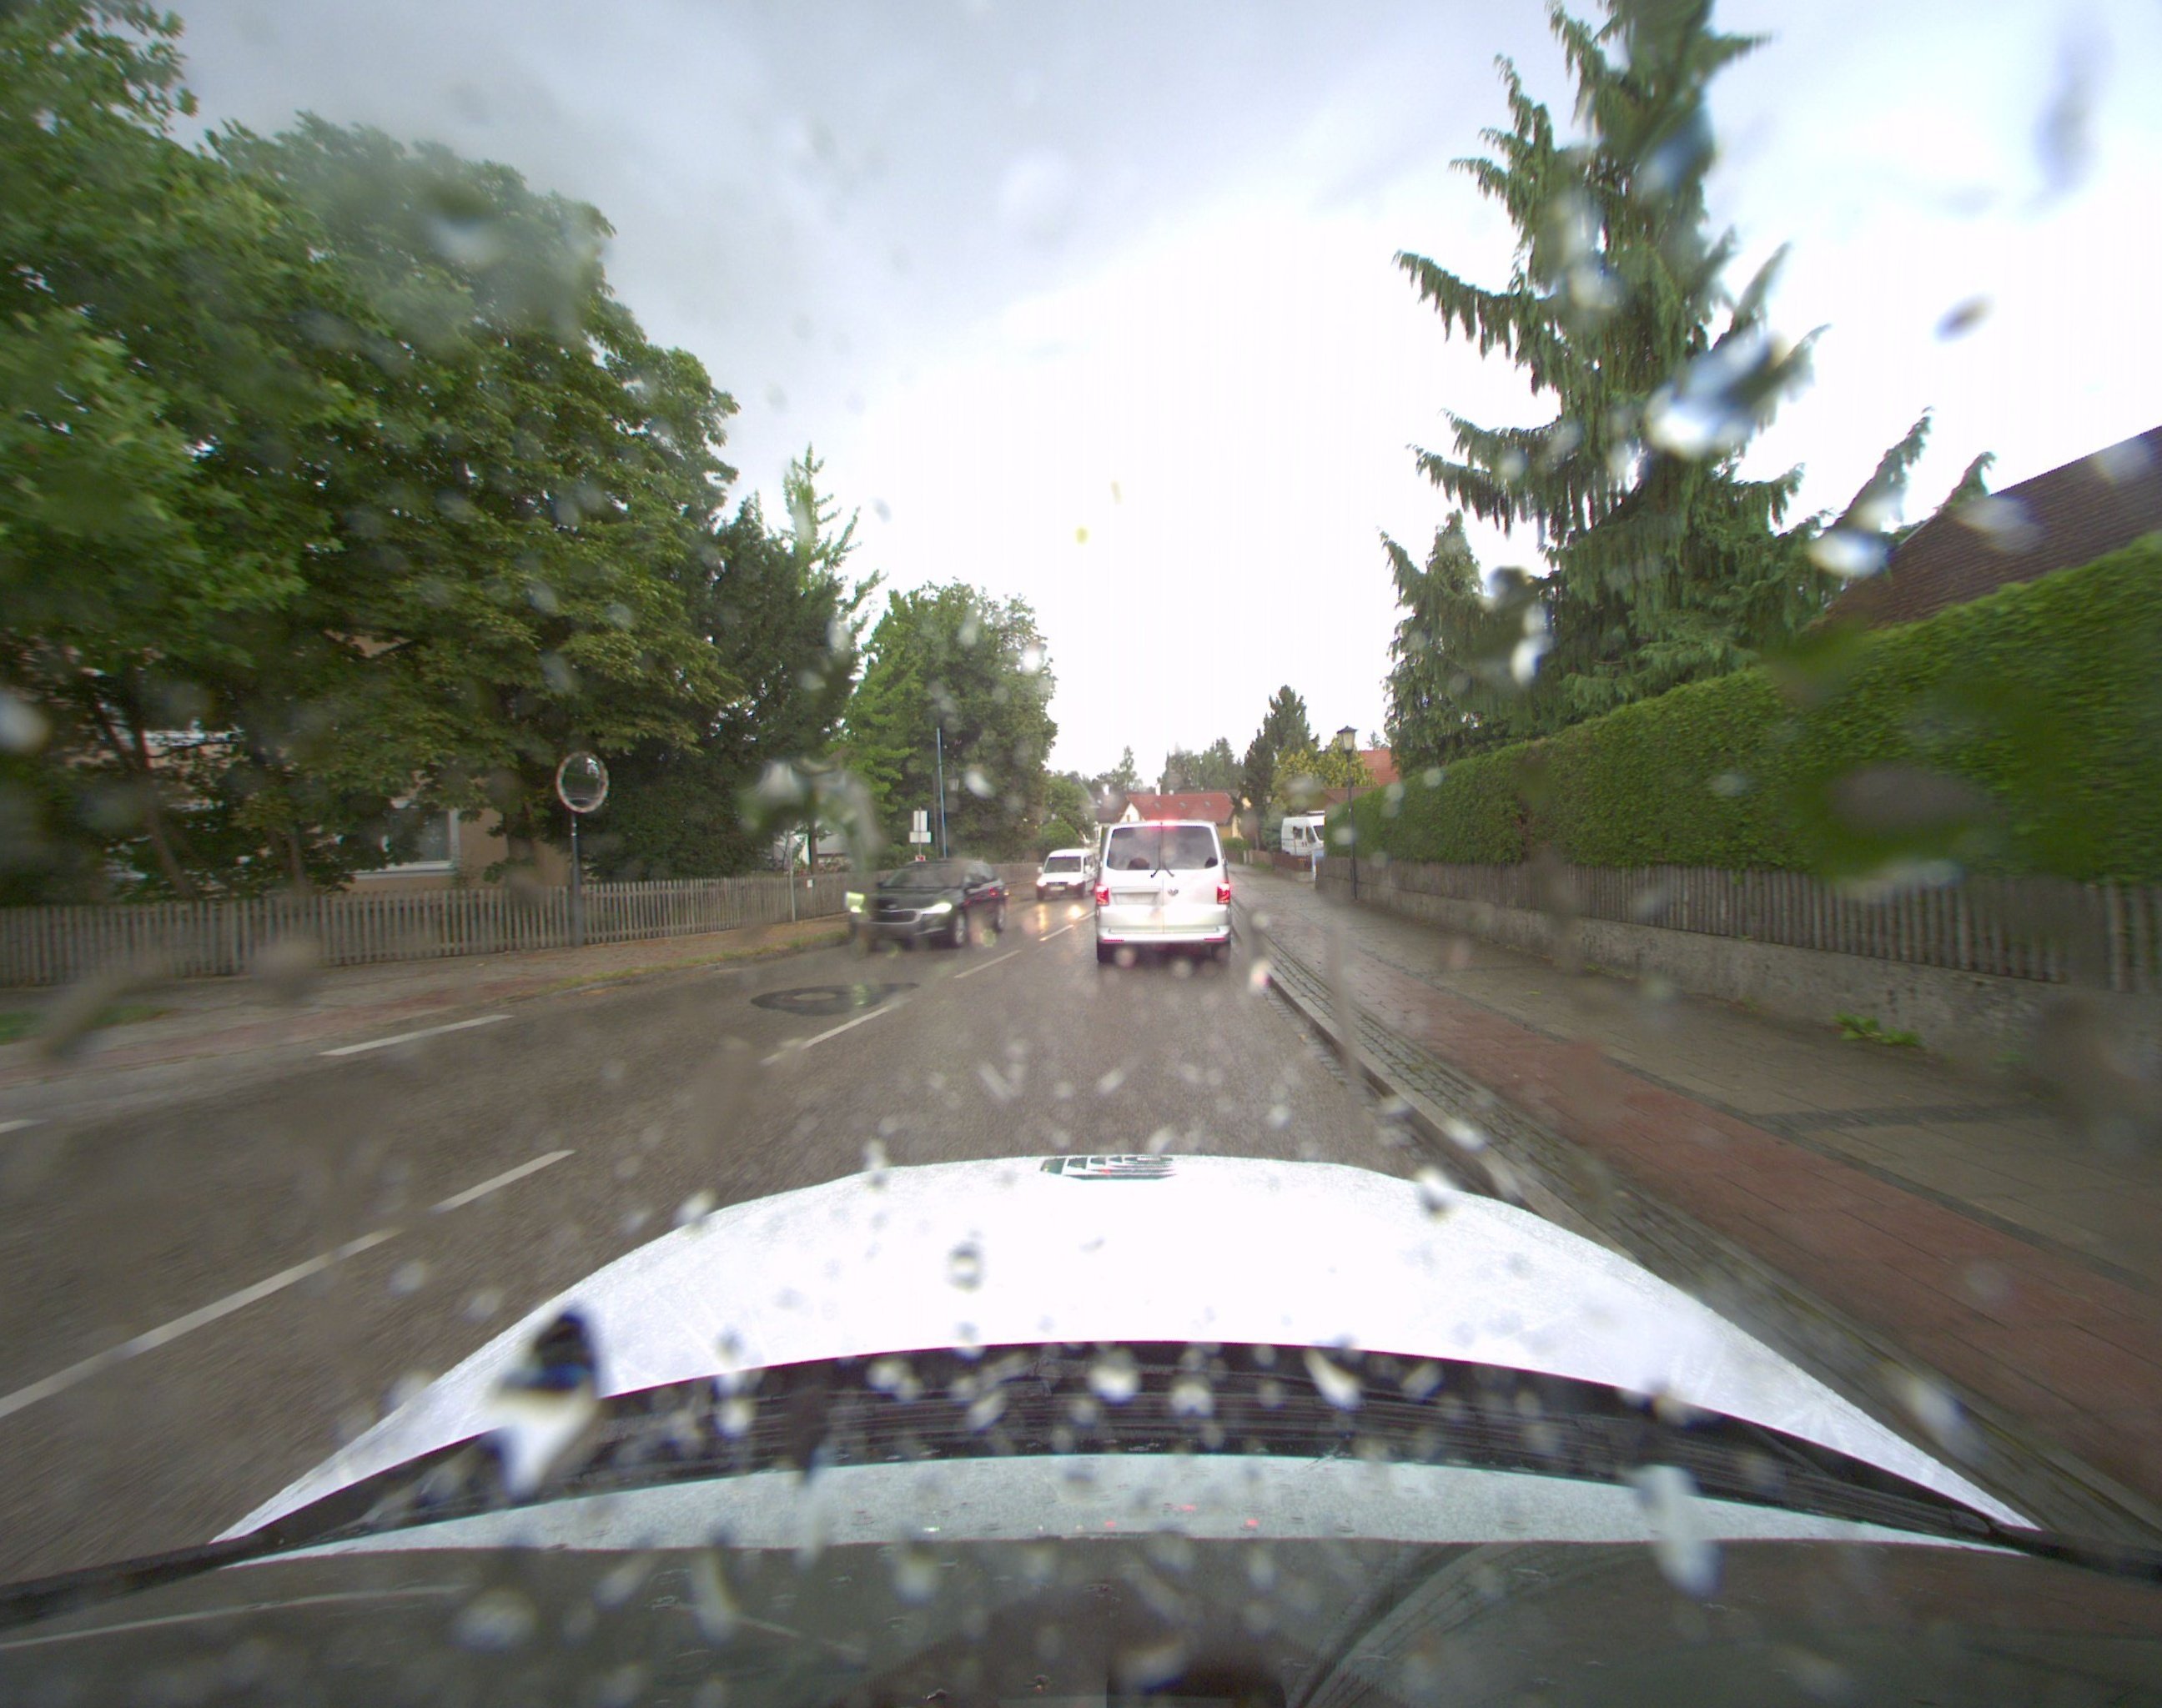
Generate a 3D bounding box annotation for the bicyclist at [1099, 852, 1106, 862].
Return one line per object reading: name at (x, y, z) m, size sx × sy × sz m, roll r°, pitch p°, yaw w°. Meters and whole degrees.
bicyclist at (2.326, 0.323, 88.888) m, size 0.584 × 1.021 × 1.062 m, roll -1°, pitch 0°, yaw 7°

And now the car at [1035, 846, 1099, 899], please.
car at (-0.420, 0.645, 29.303) m, size 1.631 × 1.765 × 4.340 m, roll -1°, pitch -1°, yaw 8°

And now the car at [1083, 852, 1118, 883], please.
car at (1.203, 0.780, 47.608) m, size 1.631 × 1.765 × 4.339 m, roll -1°, pitch -1°, yaw 7°

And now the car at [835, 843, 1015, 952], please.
car at (-2.611, 0.677, 14.831) m, size 1.773 × 1.663 × 4.458 m, roll -1°, pitch 0°, yaw 9°

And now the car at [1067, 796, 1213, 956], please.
car at (1.061, 0.308, 12.397) m, size 1.790 × 2.014 × 4.011 m, roll -1°, pitch -1°, yaw 10°

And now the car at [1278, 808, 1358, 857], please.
car at (11.309, -0.979, 39.199) m, size 1.991 × 2.173 × 4.942 m, roll 0°, pitch -1°, yaw -6°

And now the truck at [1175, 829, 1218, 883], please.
truck at (7.023, 0.152, 49.905) m, size 2.462 × 3.074 × 6.308 m, roll -1°, pitch -1°, yaw 7°

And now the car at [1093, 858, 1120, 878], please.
car at (1.972, 1.057, 62.237) m, size 1.608 × 1.444 × 3.680 m, roll -1°, pitch -1°, yaw 9°

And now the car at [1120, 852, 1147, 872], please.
car at (3.969, 0.615, 61.210) m, size 1.608 × 1.444 × 3.680 m, roll -1°, pitch -1°, yaw 9°
